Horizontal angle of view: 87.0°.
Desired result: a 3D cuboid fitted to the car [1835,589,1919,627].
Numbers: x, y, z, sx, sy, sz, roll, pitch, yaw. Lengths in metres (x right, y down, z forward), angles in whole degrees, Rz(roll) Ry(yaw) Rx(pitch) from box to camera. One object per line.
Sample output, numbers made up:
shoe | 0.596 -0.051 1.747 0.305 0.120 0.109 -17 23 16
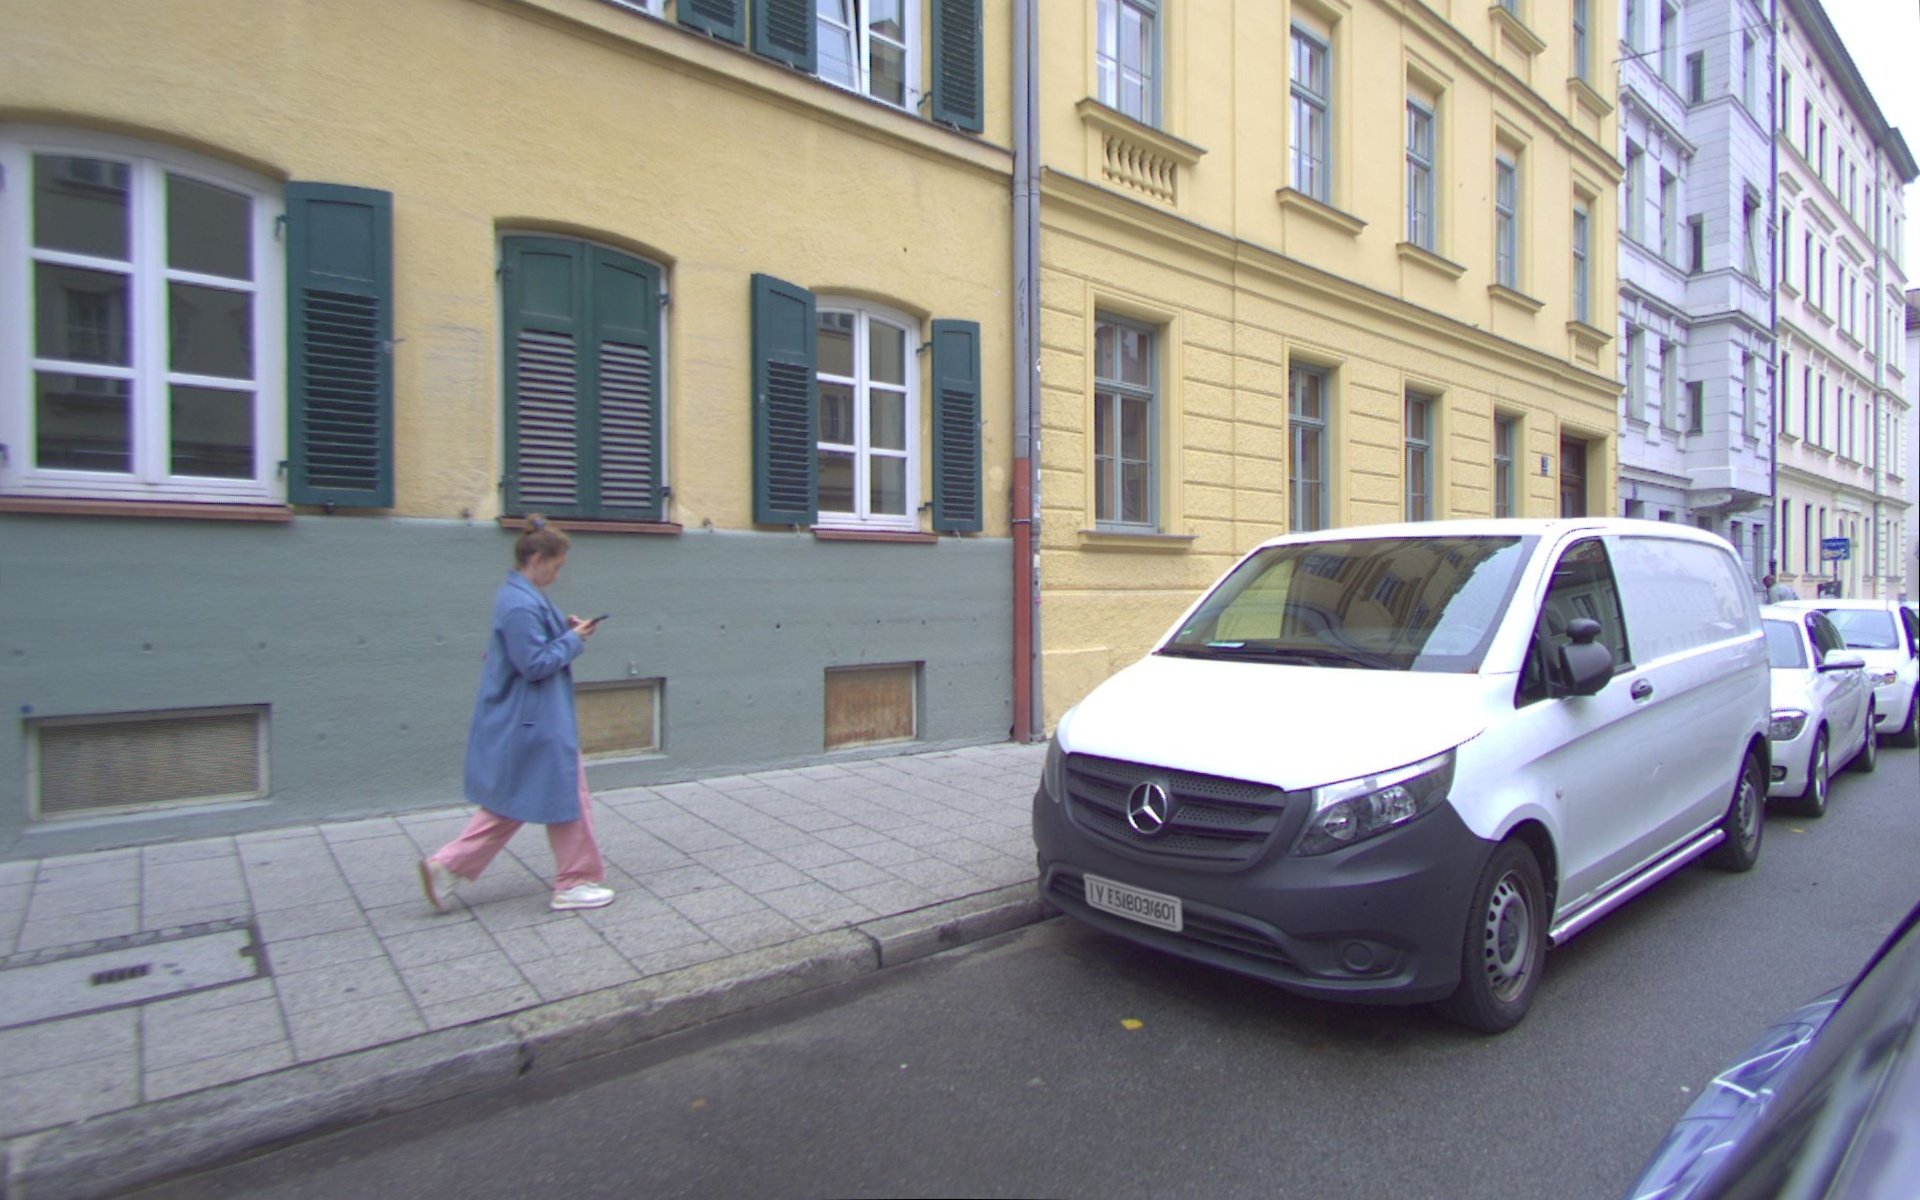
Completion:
car | 40.720 0.328 43.929 1.683 1.585 3.992 0 1 -42

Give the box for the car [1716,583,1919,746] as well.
car | 9.924 0.580 11.288 3.695 1.529 1.626 0 1 -41

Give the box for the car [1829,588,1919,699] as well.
car | 14.907 0.590 15.506 4.389 1.529 1.720 0 1 -40

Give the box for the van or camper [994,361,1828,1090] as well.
van or camper | 2.731 0.323 5.280 5.141 2.039 1.997 0 1 -41

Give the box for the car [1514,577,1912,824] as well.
car | 6.451 0.591 8.448 4.509 1.529 1.818 -1 1 -42

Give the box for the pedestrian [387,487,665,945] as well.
pedestrian | -1.781 0.404 4.165 0.881 1.659 0.598 0 3 -42

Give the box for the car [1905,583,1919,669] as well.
car | 19.102 0.461 18.979 3.870 1.529 1.719 -1 1 -43

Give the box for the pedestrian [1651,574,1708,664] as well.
pedestrian | 13.132 0.332 18.471 0.613 1.594 0.646 0 3 -39

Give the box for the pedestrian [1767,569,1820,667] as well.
pedestrian | 16.516 0.350 20.052 0.791 1.886 0.702 0 0 -42
